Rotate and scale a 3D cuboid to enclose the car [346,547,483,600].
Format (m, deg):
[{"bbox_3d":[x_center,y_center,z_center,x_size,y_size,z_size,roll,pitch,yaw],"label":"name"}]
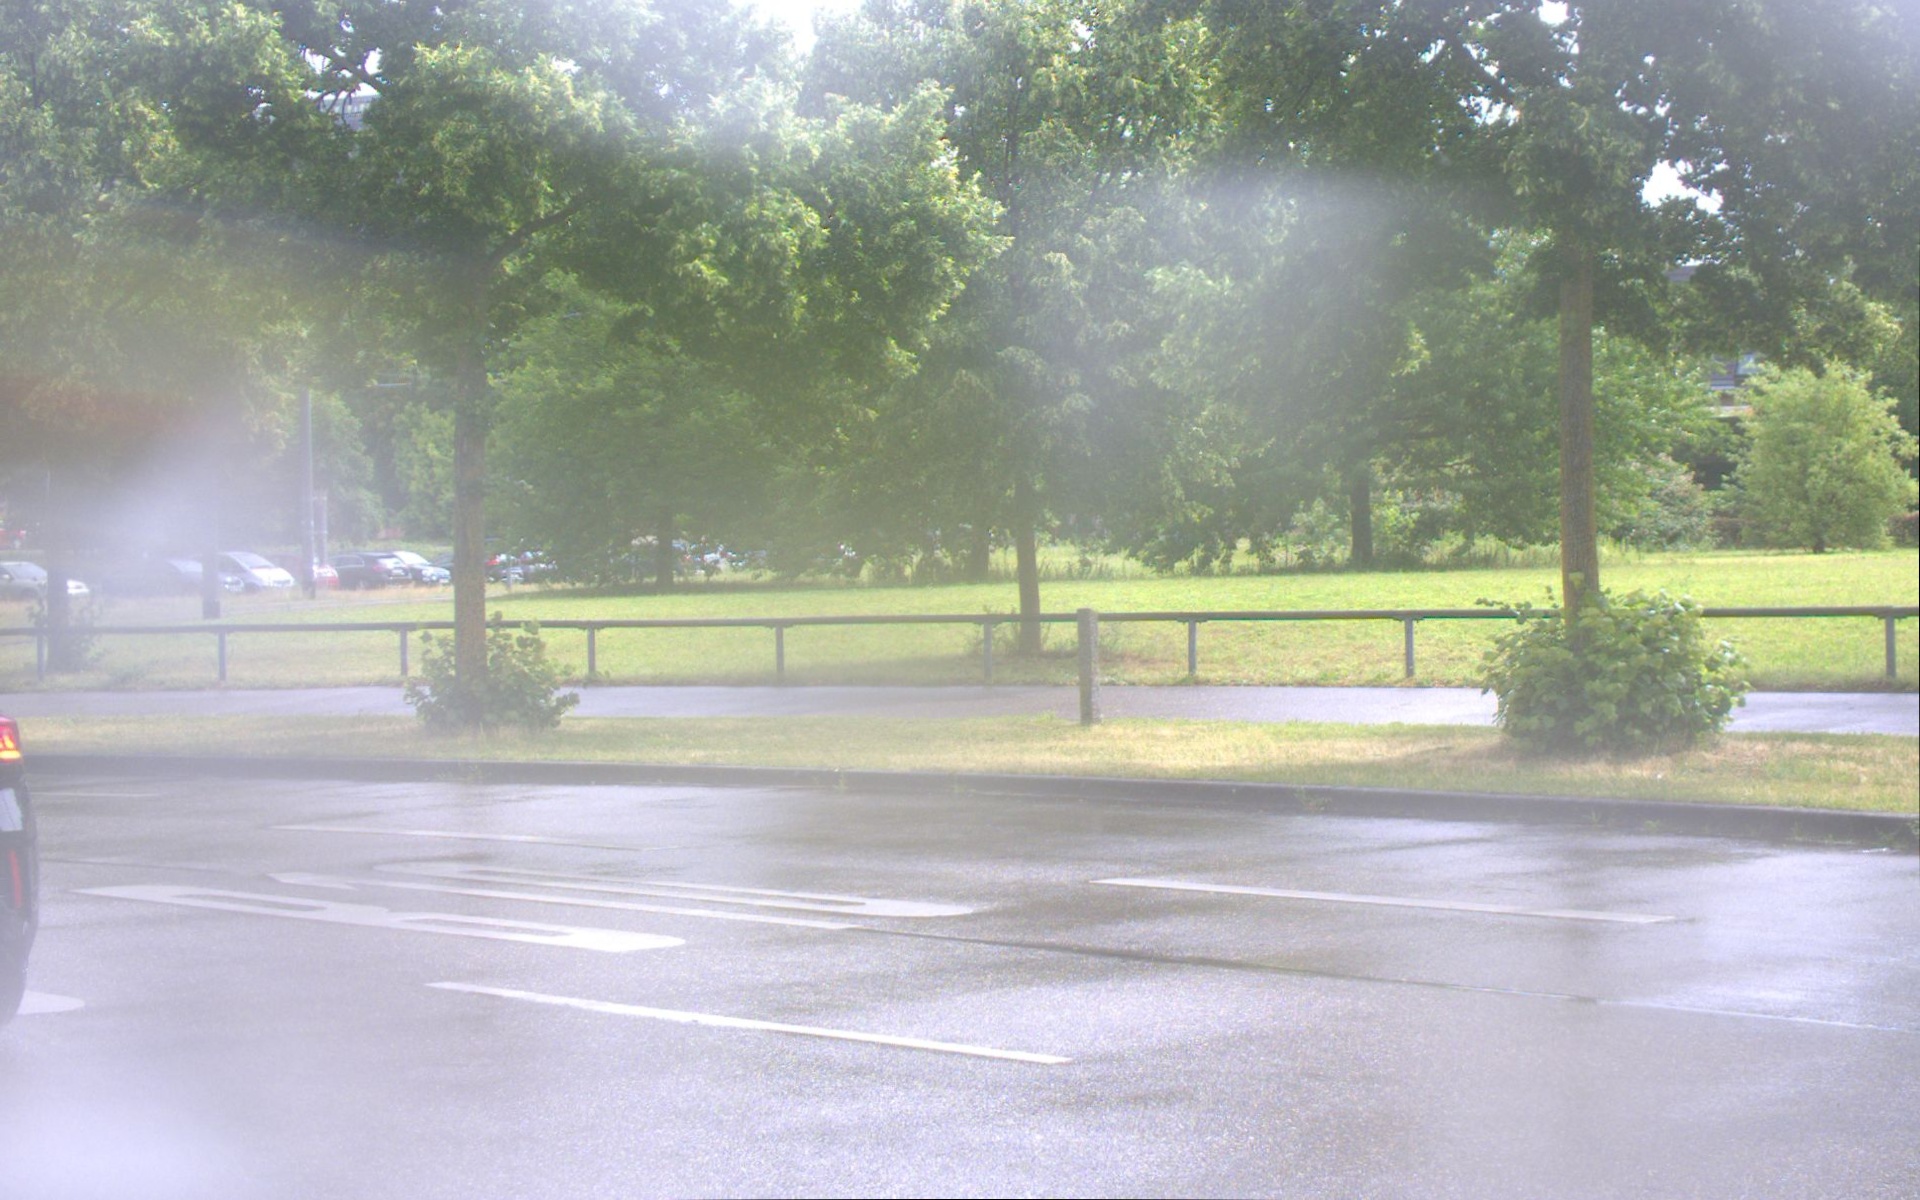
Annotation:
[{"bbox_3d":[-17.423,-0.836,109.783,3.972,1.554,1.847,-1,1,29],"label":"car"}]

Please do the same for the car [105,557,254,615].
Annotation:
[{"bbox_3d":[-22.695,-0.411,99.954,3.972,1.554,1.847,-1,1,29],"label":"car"}]

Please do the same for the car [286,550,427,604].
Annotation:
[{"bbox_3d":[-18.685,-0.711,106.410,3.972,1.554,1.847,-1,1,29],"label":"car"}]

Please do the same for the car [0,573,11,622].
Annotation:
[{"bbox_3d":[-27.485,-0.017,91.719,3.972,1.303,1.847,-1,1,29],"label":"car"}]

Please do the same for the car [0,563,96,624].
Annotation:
[{"bbox_3d":[-25.783,-0.164,93.935,3.972,1.554,1.847,-1,1,29],"label":"car"}]
